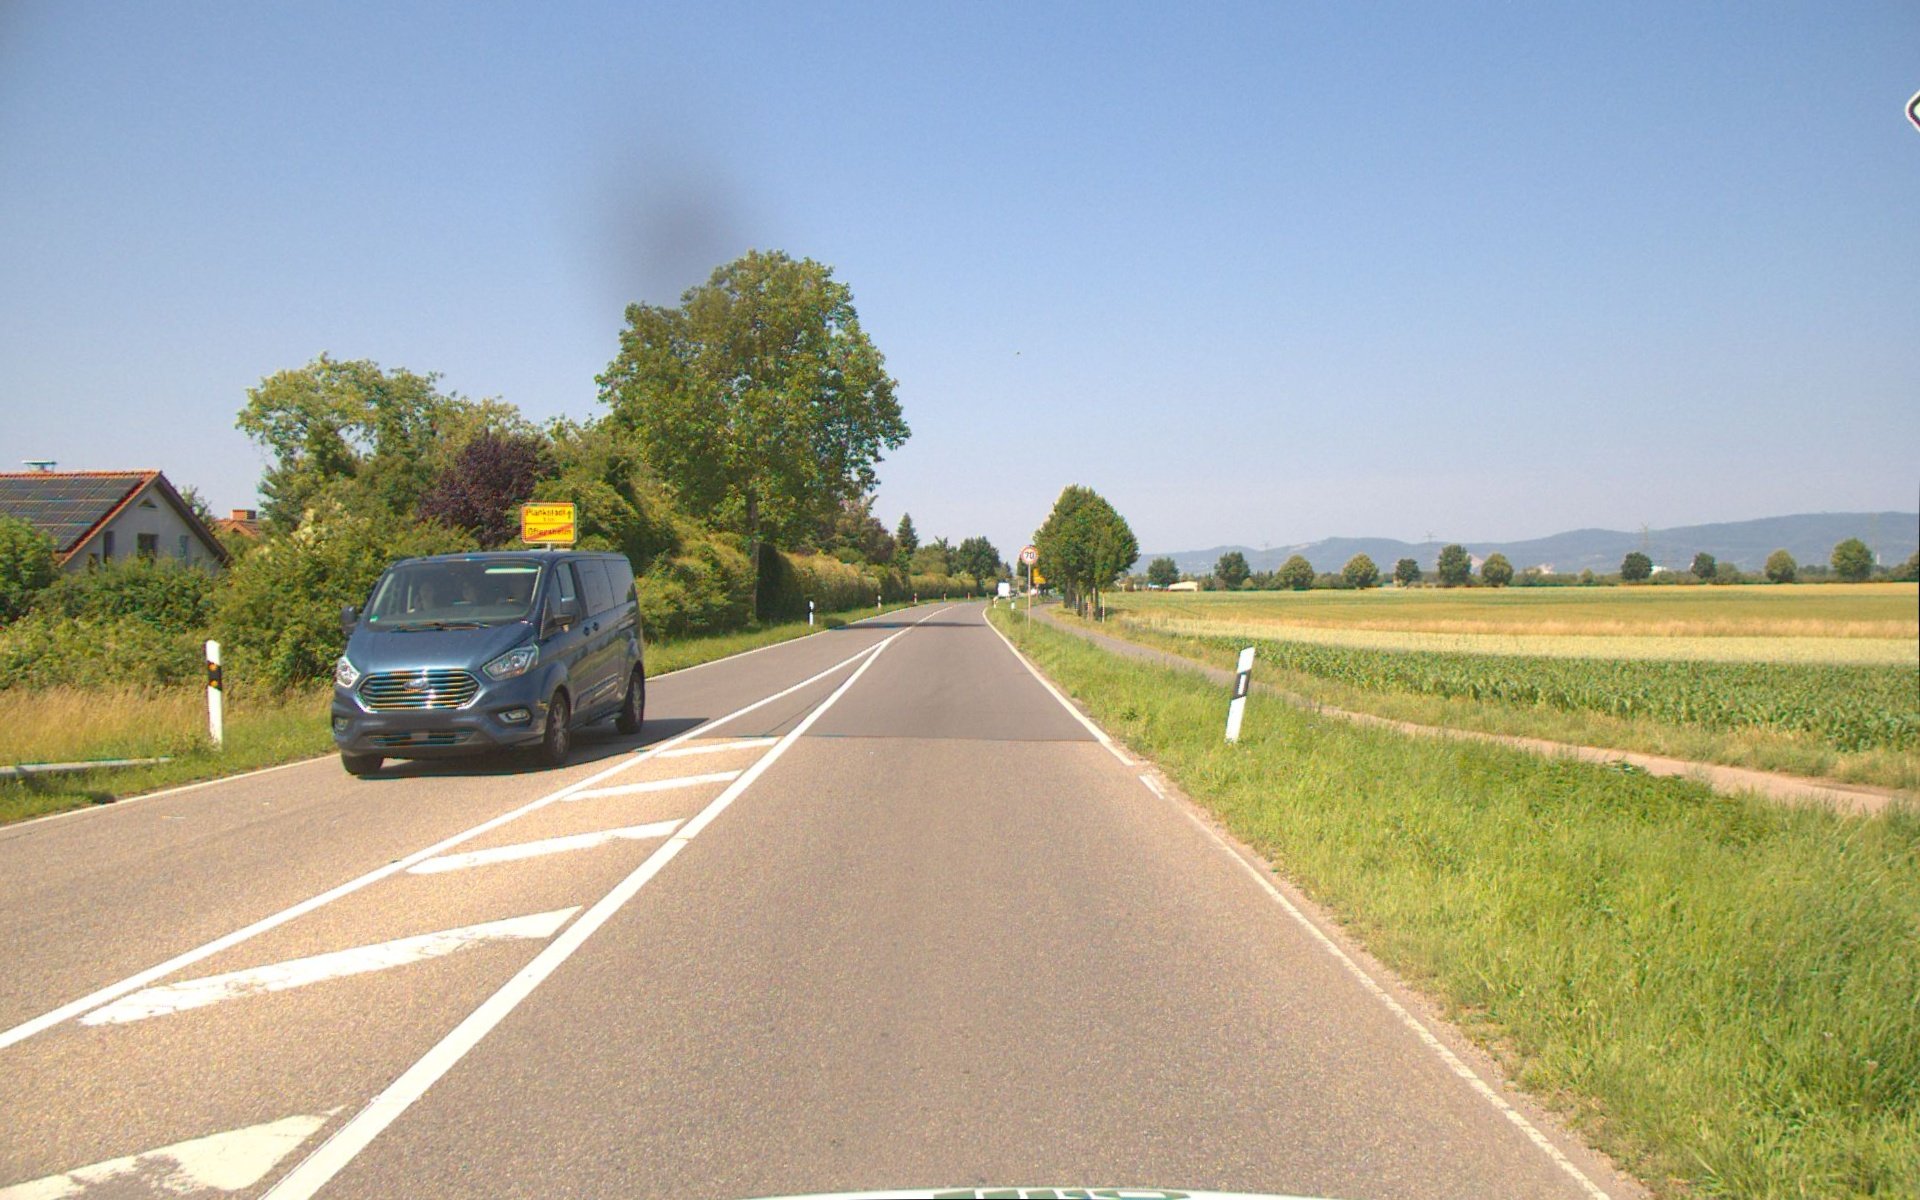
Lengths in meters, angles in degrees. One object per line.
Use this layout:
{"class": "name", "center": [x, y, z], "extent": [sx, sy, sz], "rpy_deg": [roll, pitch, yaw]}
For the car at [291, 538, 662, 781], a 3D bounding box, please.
{"class": "car", "center": [-4.533, 0.470, 16.511], "extent": [2.100, 1.985, 5.247], "rpy_deg": [-2, 1, 0]}
